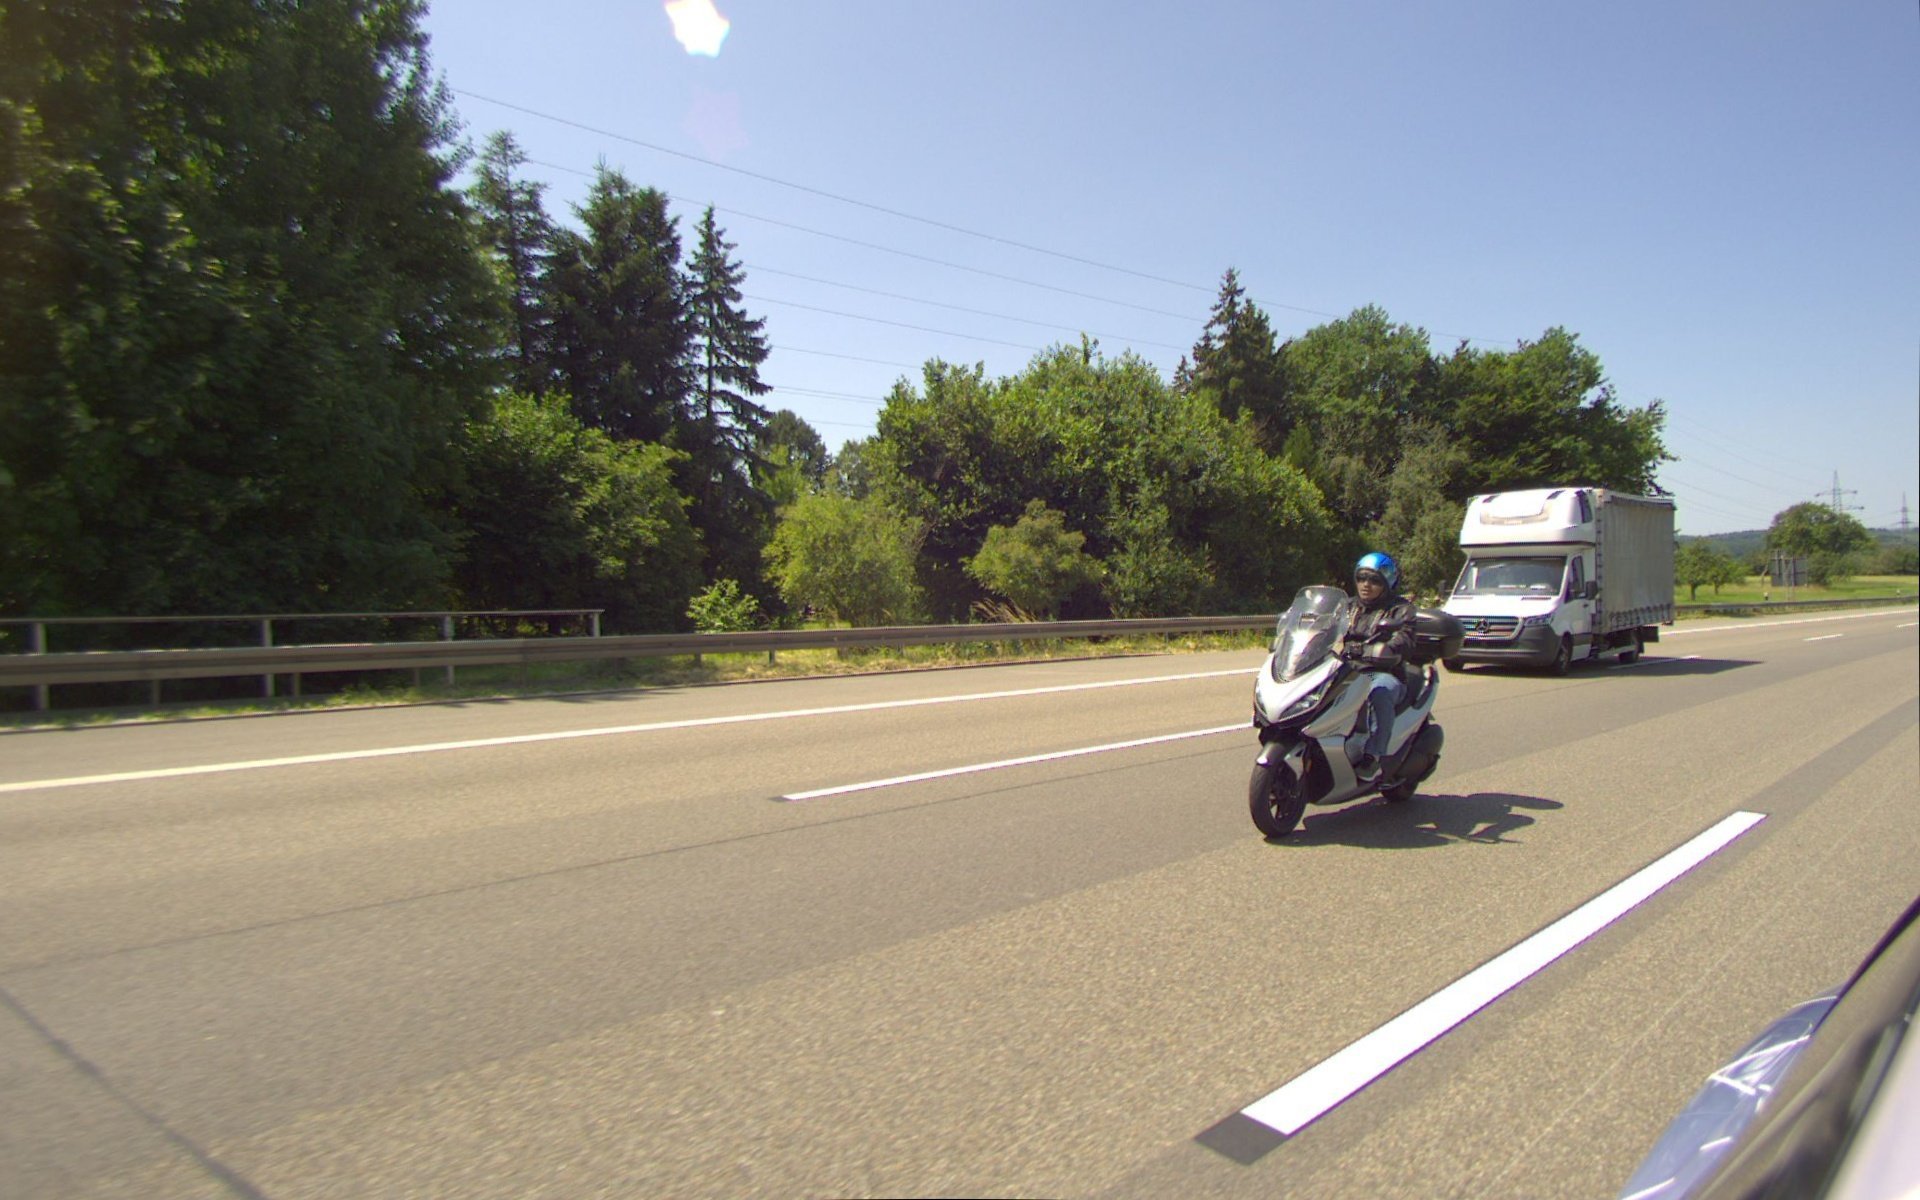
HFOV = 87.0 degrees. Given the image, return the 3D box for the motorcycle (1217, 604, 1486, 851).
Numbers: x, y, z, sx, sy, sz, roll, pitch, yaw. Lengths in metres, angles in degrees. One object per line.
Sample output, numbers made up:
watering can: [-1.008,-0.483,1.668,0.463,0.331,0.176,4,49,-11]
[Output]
motorcycle: [2.561,0.692,6.438,2.273,1.303,0.630,0,0,-42]

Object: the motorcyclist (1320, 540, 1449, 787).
motorcyclist: [2.788,0.391,6.654,0.504,1.527,0.613,0,0,-41]

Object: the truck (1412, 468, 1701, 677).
truck: [11.857,-0.512,19.714,7.967,3.328,2.510,-1,1,-42]
